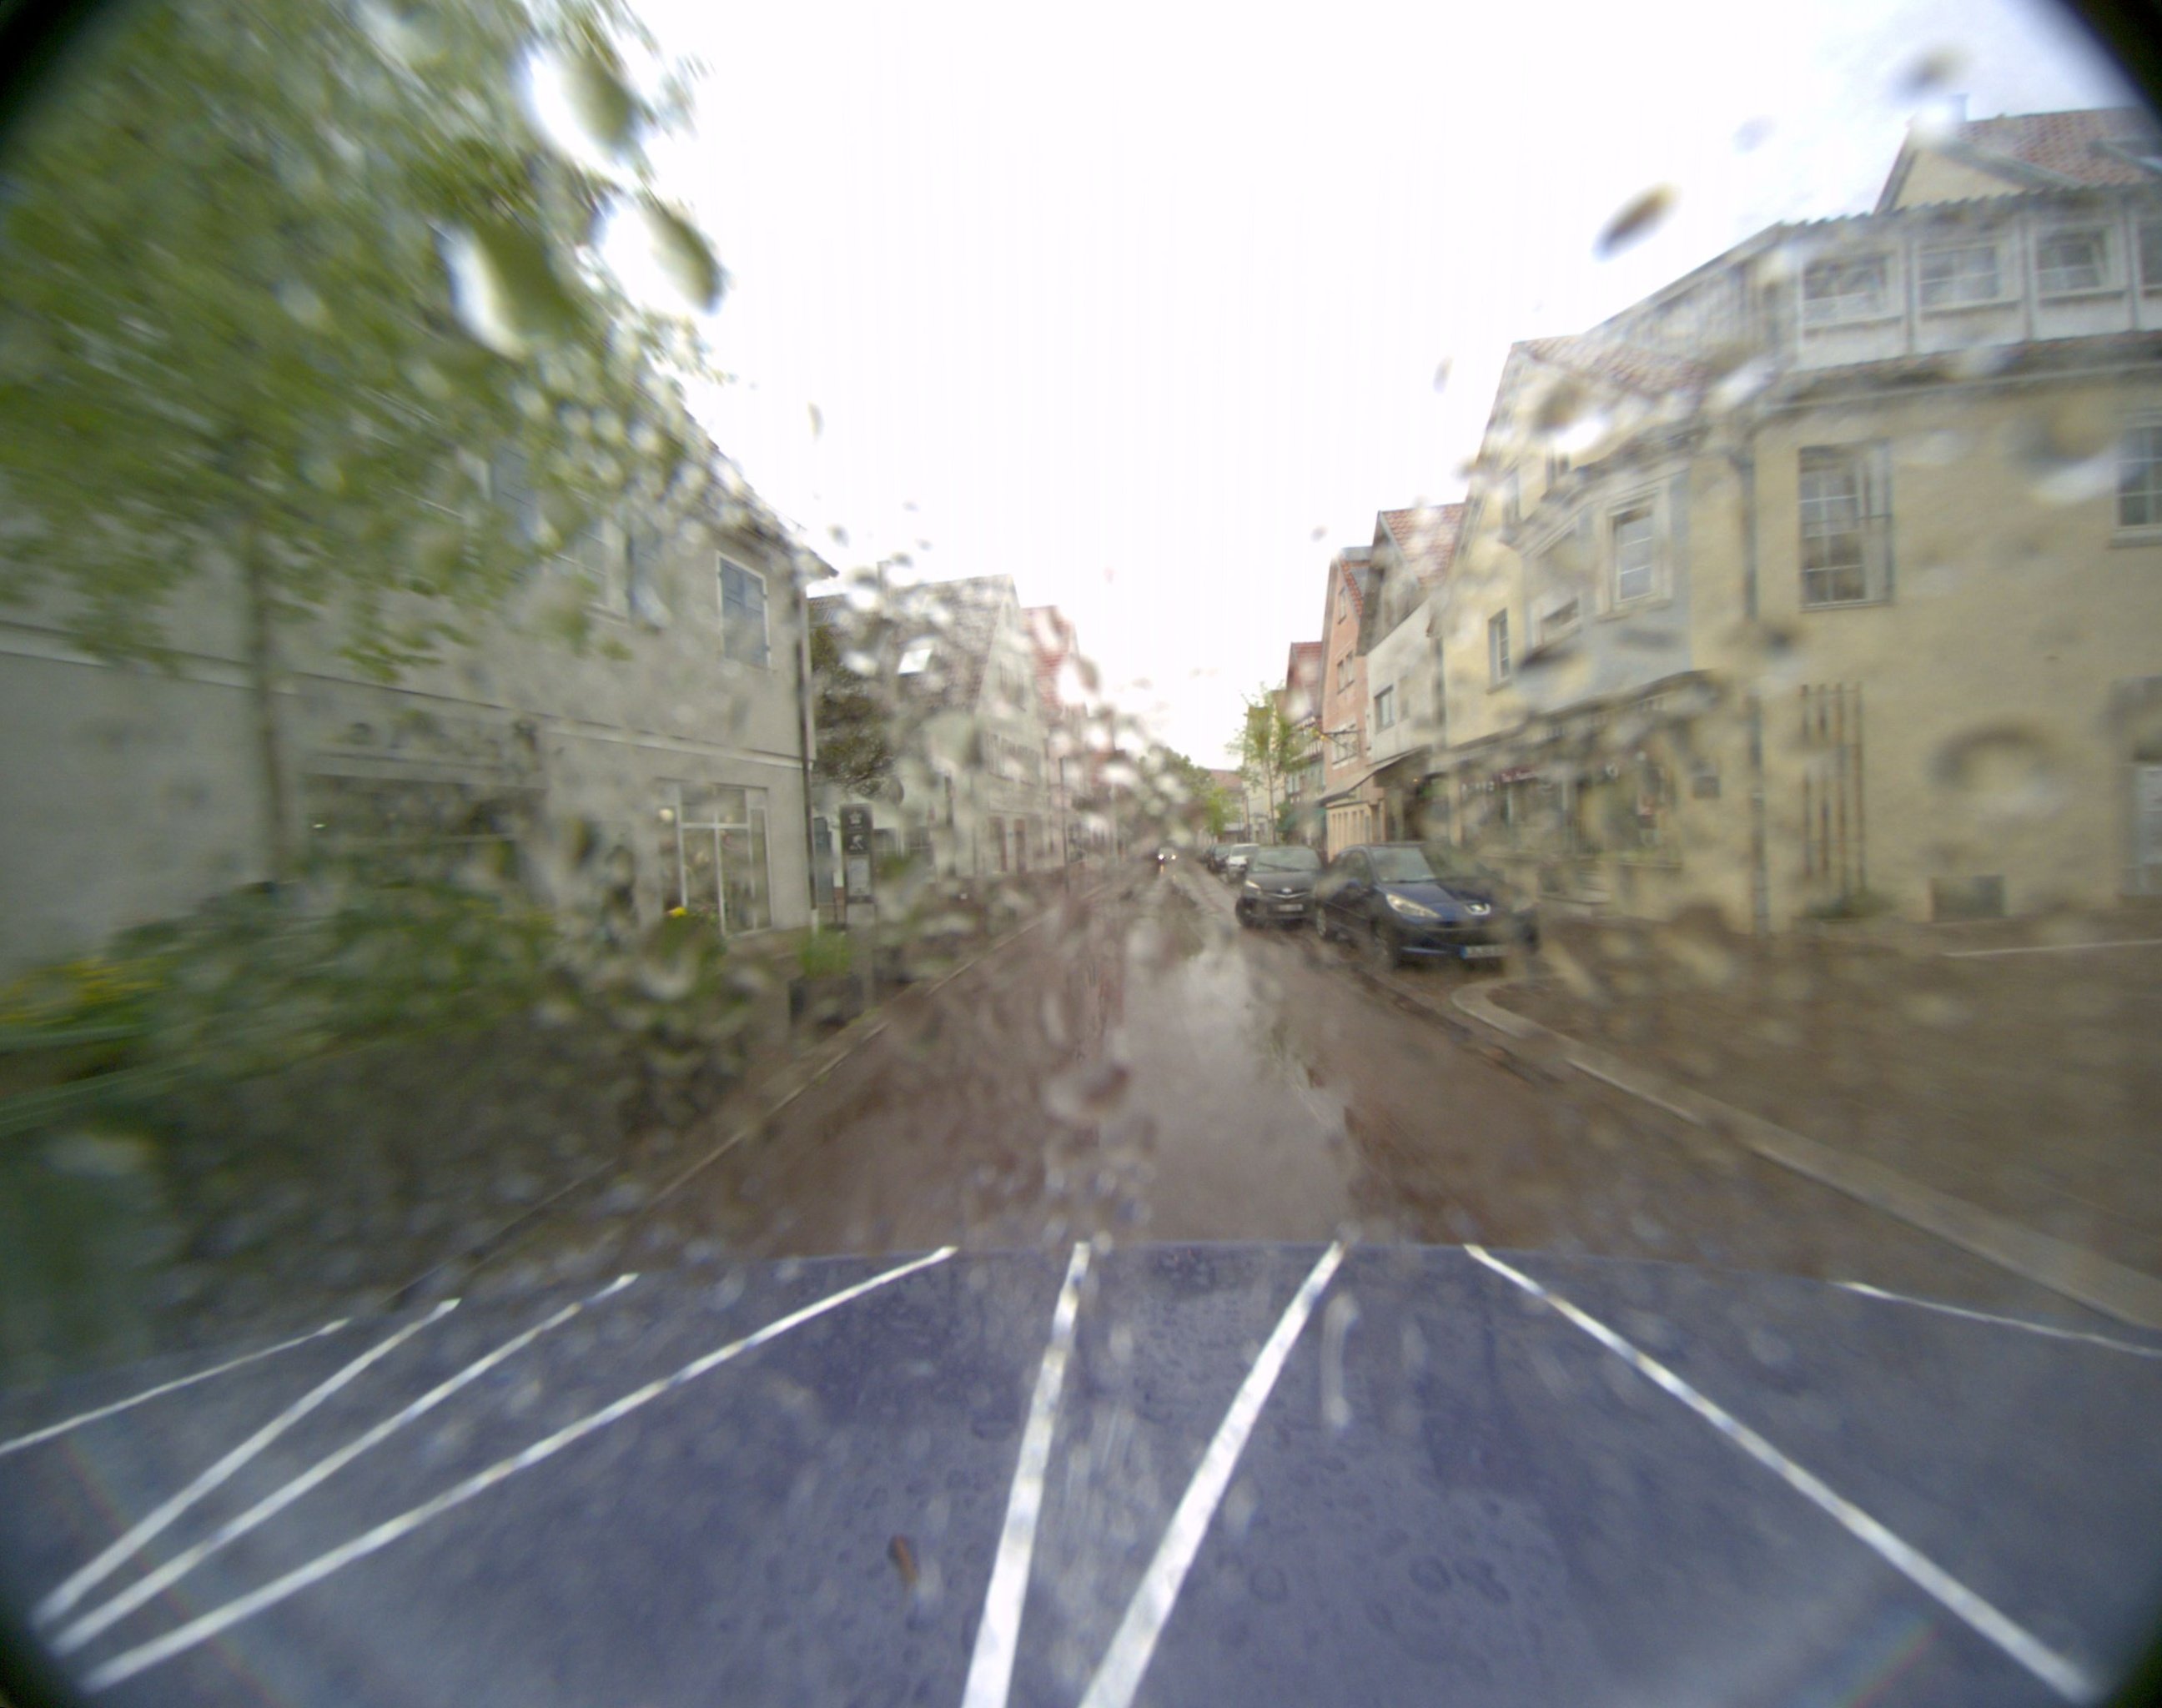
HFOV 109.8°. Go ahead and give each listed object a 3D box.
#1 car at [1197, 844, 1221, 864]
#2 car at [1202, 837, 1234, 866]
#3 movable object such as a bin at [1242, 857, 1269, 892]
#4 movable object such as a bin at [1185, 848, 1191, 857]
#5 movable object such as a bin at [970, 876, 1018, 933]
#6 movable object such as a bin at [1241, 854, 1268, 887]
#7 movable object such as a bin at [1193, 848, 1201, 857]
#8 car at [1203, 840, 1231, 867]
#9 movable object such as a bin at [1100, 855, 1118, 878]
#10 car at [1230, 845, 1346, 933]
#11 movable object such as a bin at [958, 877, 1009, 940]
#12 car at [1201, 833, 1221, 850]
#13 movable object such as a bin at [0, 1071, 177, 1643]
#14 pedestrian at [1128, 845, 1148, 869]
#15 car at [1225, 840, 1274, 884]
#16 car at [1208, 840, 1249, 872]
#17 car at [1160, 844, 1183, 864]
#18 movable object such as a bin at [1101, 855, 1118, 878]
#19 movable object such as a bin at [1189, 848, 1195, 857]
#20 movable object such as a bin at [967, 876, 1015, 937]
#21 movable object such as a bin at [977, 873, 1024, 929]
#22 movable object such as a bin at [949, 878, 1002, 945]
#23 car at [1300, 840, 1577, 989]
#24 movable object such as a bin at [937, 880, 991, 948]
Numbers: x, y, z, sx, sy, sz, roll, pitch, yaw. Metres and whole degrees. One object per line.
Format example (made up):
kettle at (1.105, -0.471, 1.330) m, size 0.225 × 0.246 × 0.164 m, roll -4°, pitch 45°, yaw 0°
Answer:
car at (11.251, -0.009, 66.705) m, size 1.865 × 1.515 × 4.330 m, roll -4°, pitch 0°, yaw 10°
car at (8.791, -0.202, 48.976) m, size 1.827 × 1.656 × 4.645 m, roll -3°, pitch 0°, yaw 9°
movable object such as a bin at (5.513, 0.645, 24.054) m, size 0.710 × 1.046 × 0.704 m, roll -3°, pitch 2°, yaw 9°
movable object such as a bin at (13.760, -0.188, 97.843) m, size 0.538 × 1.124 × 0.729 m, roll 0°, pitch 2°, yaw 38°
movable object such as a bin at (-1.731, 1.006, 15.259) m, size 0.756 × 1.058 × 0.600 m, roll -3°, pitch 2°, yaw 9°
movable object such as a bin at (6.033, 0.574, 26.440) m, size 0.788 × 1.078 × 0.693 m, roll -4°, pitch 0°, yaw 10°
movable object such as a bin at (14.790, -0.185, 96.935) m, size 0.726 × 1.077 × 0.605 m, roll -2°, pitch 3°, yaw 32°
car at (9.893, -0.071, 55.661) m, size 1.827 × 1.657 × 4.644 m, roll -3°, pitch 2°, yaw 9°
movable object such as a bin at (1.346, 0.610, 36.835) m, size 0.798 × 1.074 × 0.583 m, roll -2°, pitch 2°, yaw 5°
car at (3.936, 0.610, 15.038) m, size 1.695 × 1.435 × 3.887 m, roll -4°, pitch 0°, yaw 9°
movable object such as a bin at (-1.800, 1.002, 14.126) m, size 0.737 × 1.092 × 0.611 m, roll -3°, pitch 2°, yaw 8°
car at (13.302, -1.304, 77.796) m, size 1.865 × 1.515 × 4.330 m, roll -4°, pitch 0°, yaw 10°
movable object such as a bin at (-2.675, 1.144, 1.637) m, size 0.633 × 1.144 × 0.579 m, roll -4°, pitch 2°, yaw 0°
pedestrian at (4.153, 0.207, 55.267) m, size 0.791 × 1.672 × 1.174 m, roll -5°, pitch 2°, yaw -30°
car at (6.927, 0.276, 31.539) m, size 1.695 × 1.530 × 4.122 m, roll -4°, pitch 2°, yaw 10°
car at (8.146, 0.106, 42.189) m, size 1.783 × 1.529 × 4.292 m, roll -4°, pitch -1°, yaw 7°
car at (7.578, 0.020, 63.749) m, size 1.783 × 1.529 × 4.292 m, roll -4°, pitch -1°, yaw 7°
movable object such as a bin at (1.409, 0.599, 37.448) m, size 0.794 × 1.074 × 0.615 m, roll -2°, pitch 2°, yaw 5°
movable object such as a bin at (14.238, -0.195, 97.465) m, size 0.538 × 1.136 × 0.729 m, roll 0°, pitch 2°, yaw 38°
movable object such as a bin at (-1.725, 1.012, 14.654) m, size 0.730 × 1.085 × 0.521 m, roll -3°, pitch 2°, yaw 9°
movable object such as a bin at (-1.670, 0.979, 15.847) m, size 0.769 × 1.073 × 0.599 m, roll -3°, pitch 2°, yaw 9°
movable object such as a bin at (-1.869, 1.015, 13.526) m, size 0.737 × 1.092 × 0.611 m, roll -3°, pitch 2°, yaw 8°
car at (4.349, 0.652, 10.007) m, size 1.761 × 1.465 × 3.944 m, roll -4°, pitch 0°, yaw 1°
movable object such as a bin at (-1.982, 1.004, 12.946) m, size 0.755 × 1.084 × 0.656 m, roll -1°, pitch 1°, yaw 5°
